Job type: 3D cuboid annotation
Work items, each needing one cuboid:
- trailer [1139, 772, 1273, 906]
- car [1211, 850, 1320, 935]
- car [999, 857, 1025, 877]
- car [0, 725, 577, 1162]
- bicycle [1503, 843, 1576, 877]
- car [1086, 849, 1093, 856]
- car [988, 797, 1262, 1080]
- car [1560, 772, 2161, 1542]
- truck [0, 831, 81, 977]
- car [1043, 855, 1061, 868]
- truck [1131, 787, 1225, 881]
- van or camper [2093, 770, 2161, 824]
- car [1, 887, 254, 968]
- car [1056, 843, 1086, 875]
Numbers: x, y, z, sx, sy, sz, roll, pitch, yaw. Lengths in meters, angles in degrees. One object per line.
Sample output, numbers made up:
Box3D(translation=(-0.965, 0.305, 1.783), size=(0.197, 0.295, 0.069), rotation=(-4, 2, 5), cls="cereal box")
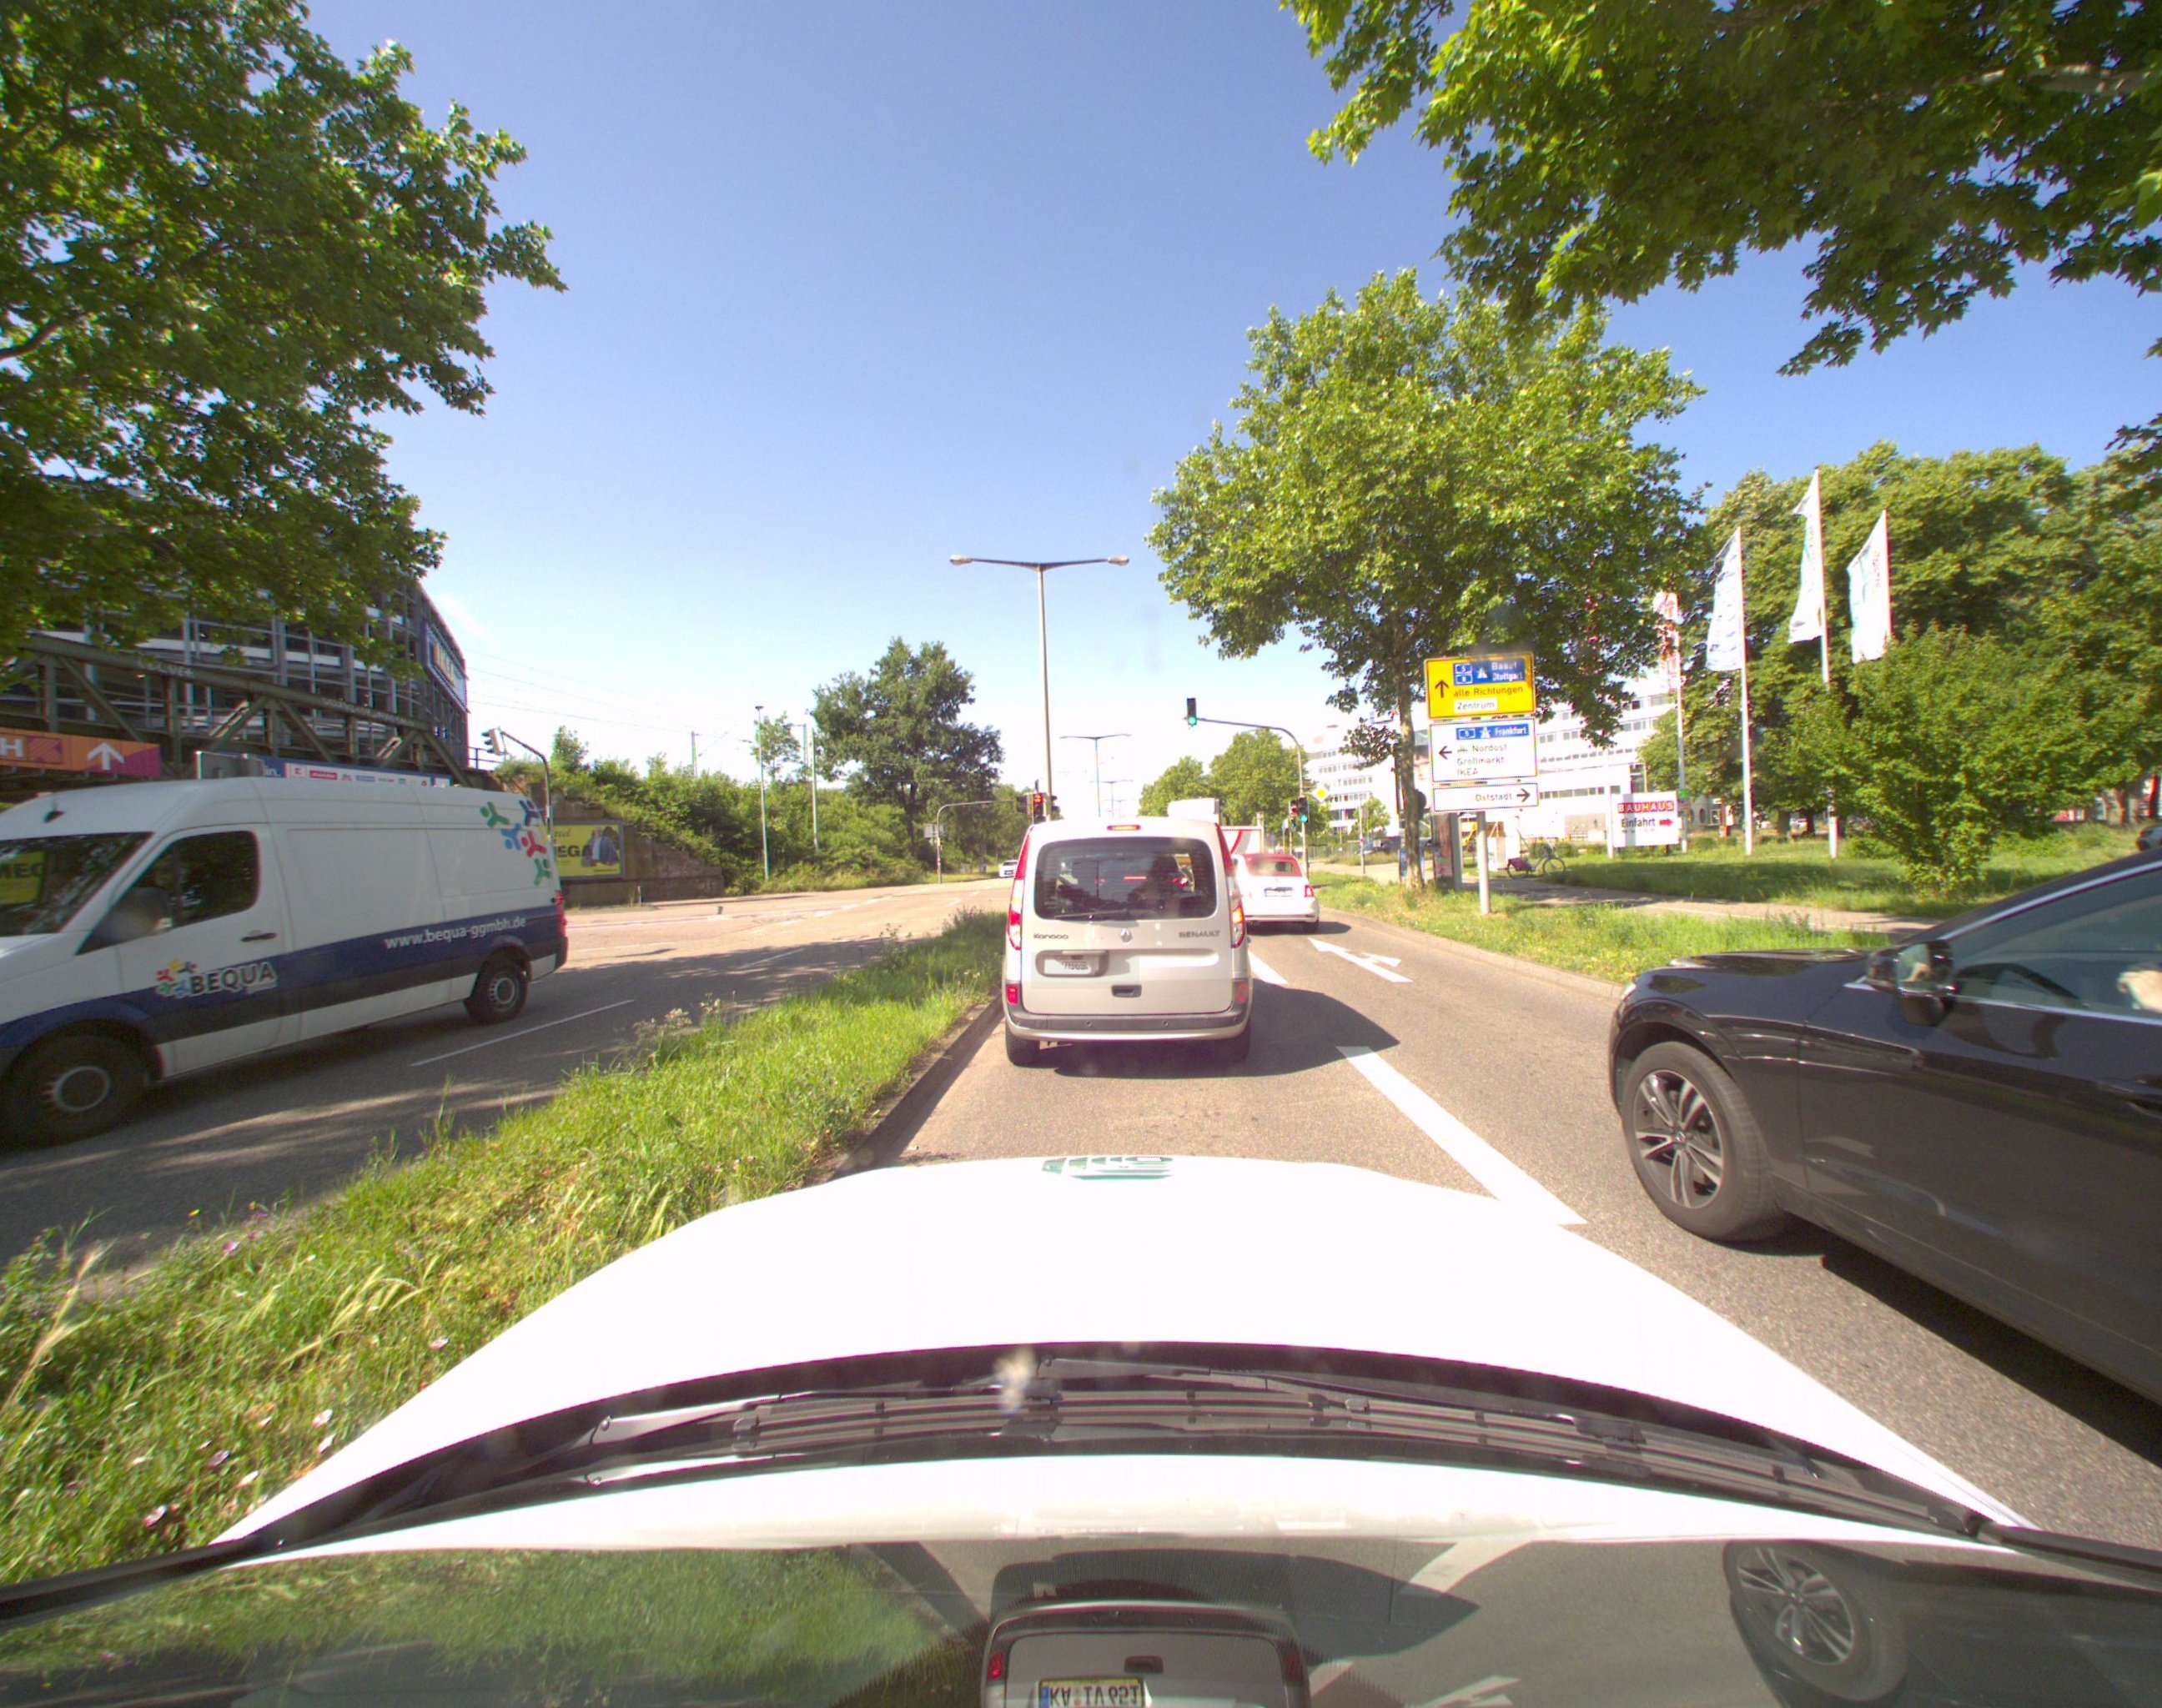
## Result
Box3D(translation=(3.840, -0.354, 28.465), size=(2.890, 3.622, 12.686), rotation=(0, 0, 1), cls="trailer")
Box3D(translation=(3.561, 0.694, 16.200), size=(1.532, 1.514, 3.261), rotation=(0, -1, 2), cls="car")
Box3D(translation=(-5.918, 1.075, 69.935), size=(1.693, 1.508, 4.002), rotation=(-2, 0, 2), cls="car")
Box3D(translation=(-7.516, 0.595, 7.405), size=(1.986, 2.662, 5.788), rotation=(-3, 0, 2), cls="car")
Box3D(translation=(15.056, 0.209, 26.779), size=(1.985, 1.014, 0.624), rotation=(-3, 0, 18), cls="bicycle")
Box3D(translation=(2.744, -0.393, 250.767), size=(1.880, 2.014, 4.004), rotation=(0, -1, 4), cls="car")
Box3D(translation=(0.347, 0.569, 7.317), size=(1.779, 1.838, 4.001), rotation=(0, -1, 2), cls="car")
Box3D(translation=(3.164, 0.620, 1.669), size=(1.868, 1.591, 4.435), rotation=(0, 0, 2), cls="car")
Box3D(translation=(-26.318, 1.273, 16.665), size=(6.890, 3.105, 2.196), rotation=(-4, 1, -32), cls="truck")
Box3D(translation=(-3.939, 1.028, 111.509), size=(1.902, 1.641, 3.742), rotation=(-3, -1, 5), cls="car")
Box3D(translation=(4.422, -0.734, 35.482), size=(2.888, 3.643, 7.220), rotation=(-1, -1, 16), cls="truck")
Box3D(translation=(63.648, -3.378, 46.482), size=(2.007, 2.942, 7.213), rotation=(0, -1, -32), cls="van or camper")
Box3D(translation=(-25.761, 1.919, 22.253), size=(4.015, 1.646, 1.885), rotation=(-4, 1, -32), cls="car")
Box3D(translation=(-0.807, 0.443, 69.831), size=(1.984, 2.607, 5.140), rotation=(-3, -1, 5), cls="car")
